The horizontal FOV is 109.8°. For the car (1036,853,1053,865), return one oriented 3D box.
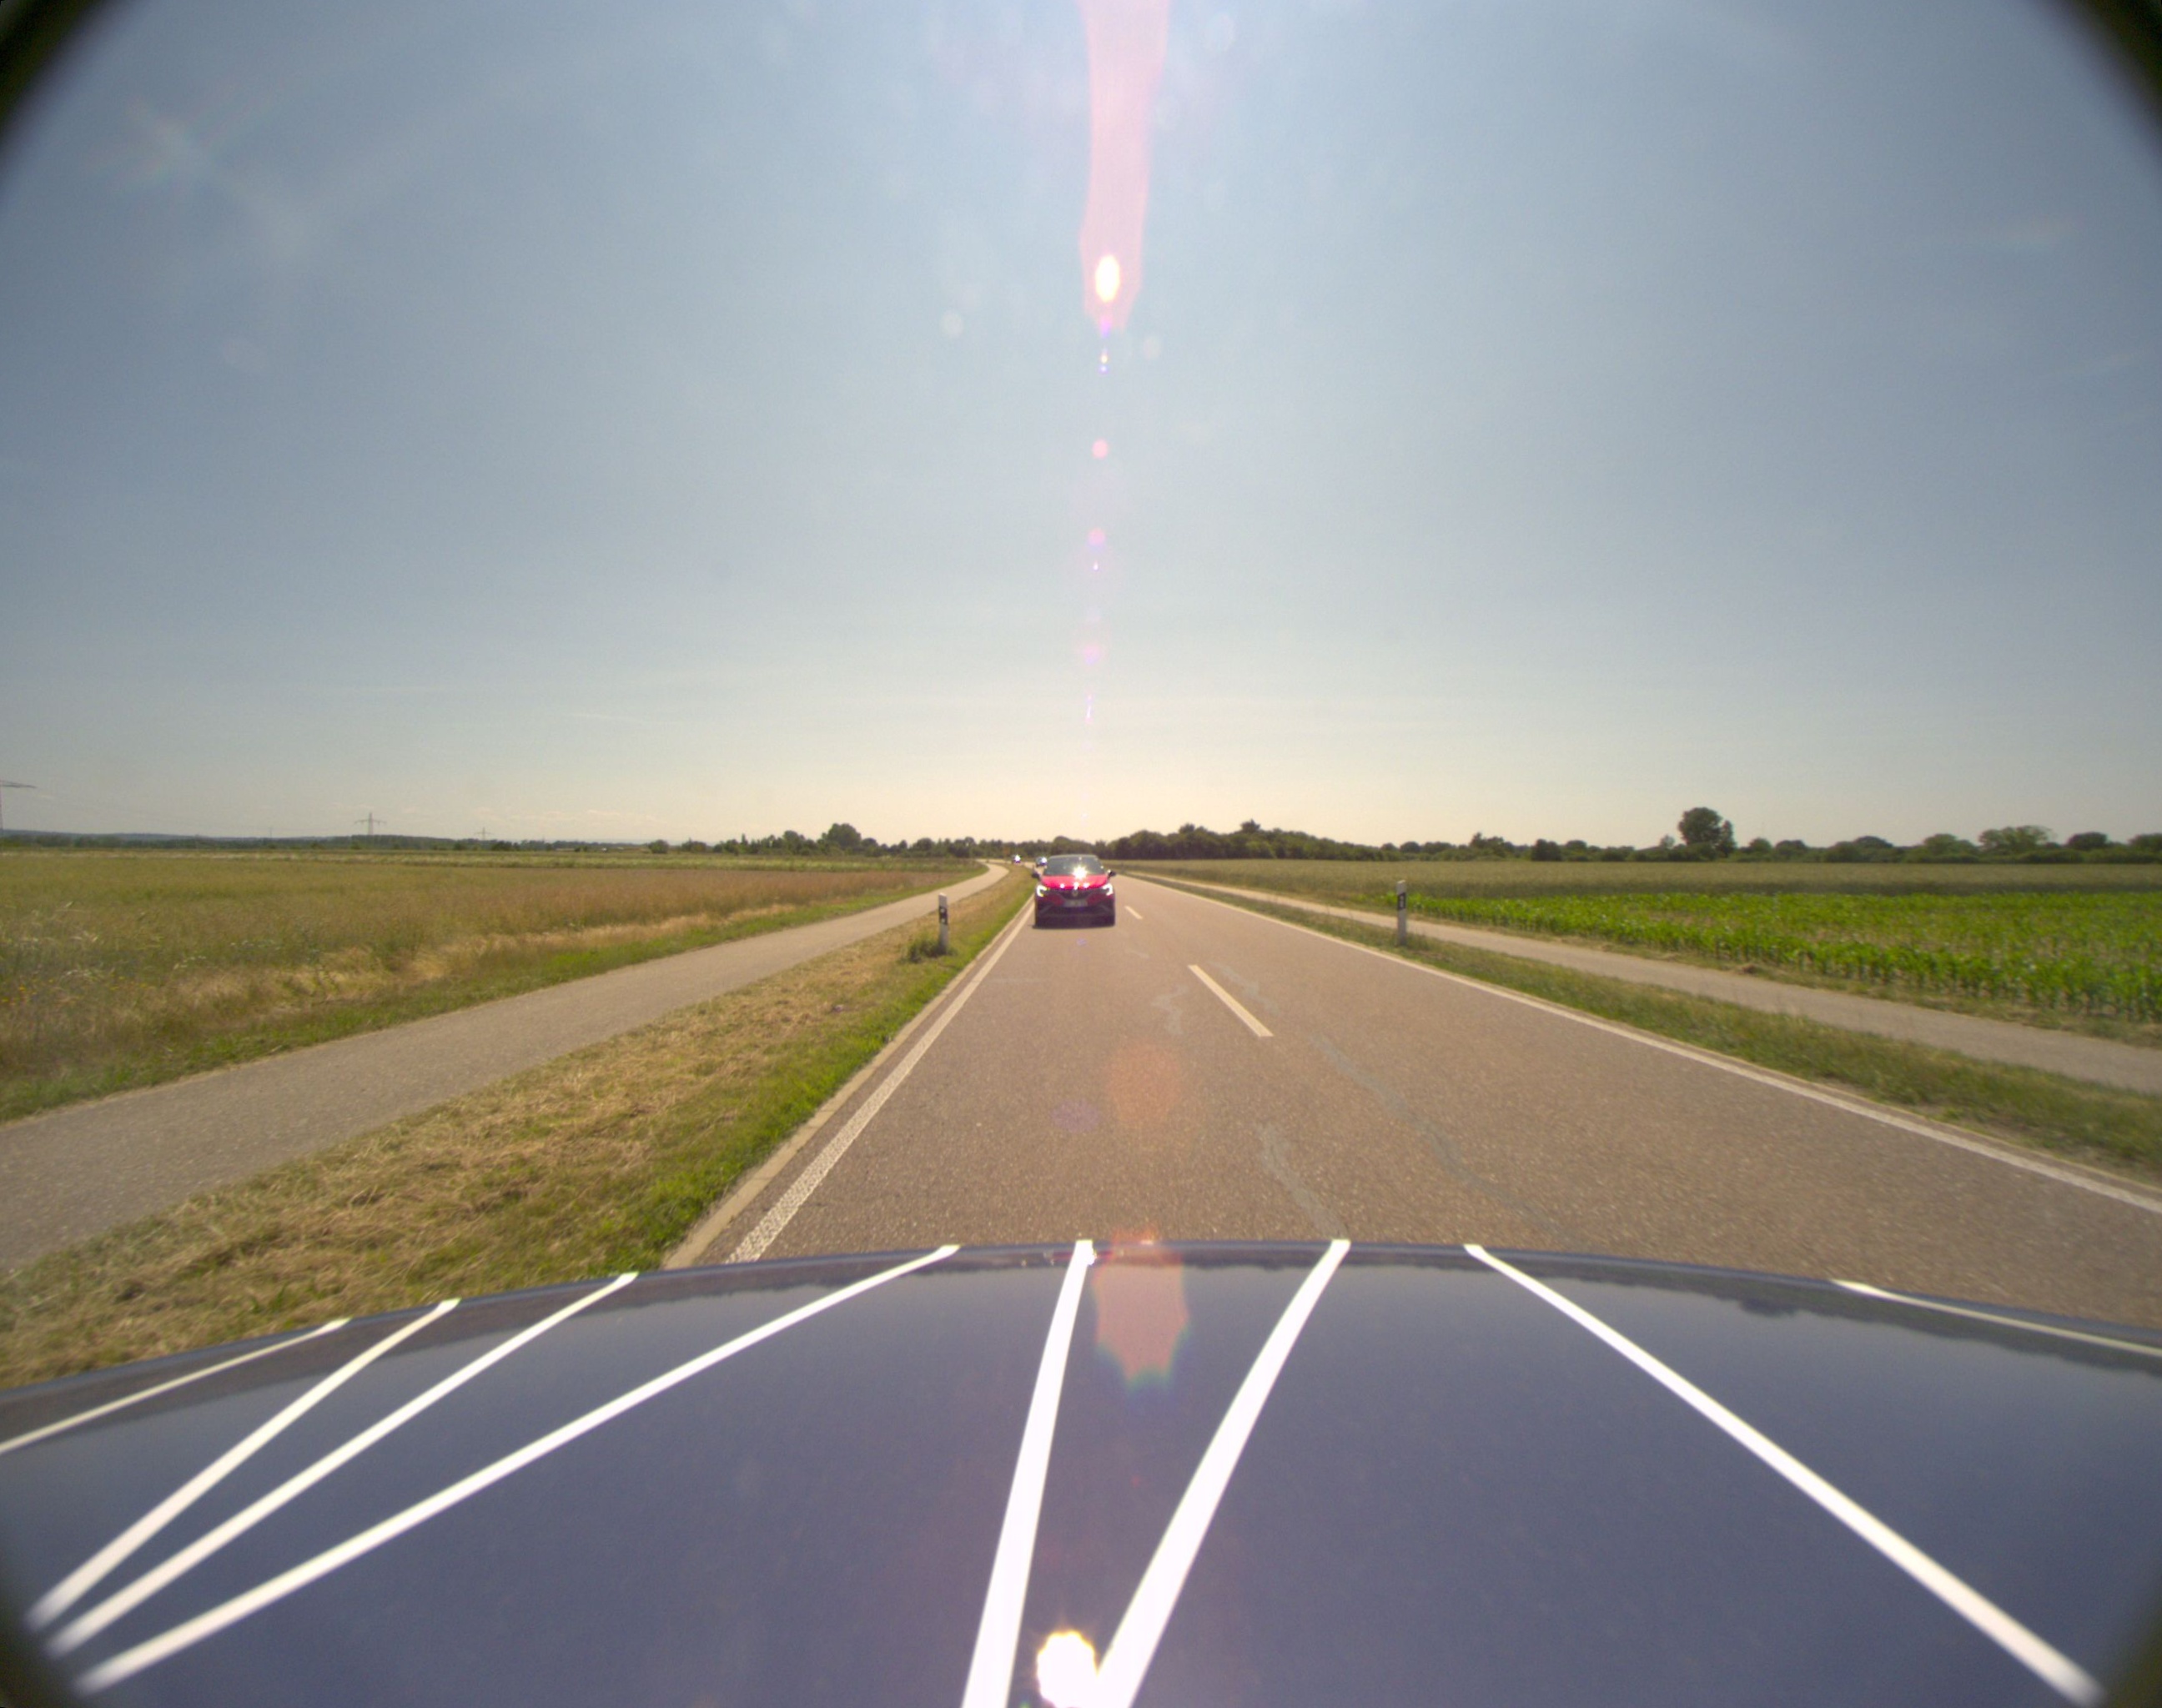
[{"bbox_3d":[-5.166,0.632,106.567,1.984,1.587,5.398,-1,1,-7],"label":"car"}]

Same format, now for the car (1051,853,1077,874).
[{"bbox_3d":[-1.415,0.735,60.915,1.983,1.587,5.400,-1,1,-2],"label":"car"}]

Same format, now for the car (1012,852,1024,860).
[{"bbox_3d":[-13.475,0.488,162.504,1.985,1.587,5.396,-1,1,-10],"label":"car"}]

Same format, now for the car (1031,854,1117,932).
[{"bbox_3d":[-0.177,0.843,18.709,1.837,1.587,4.721,-1,1,-1],"label":"car"}]
